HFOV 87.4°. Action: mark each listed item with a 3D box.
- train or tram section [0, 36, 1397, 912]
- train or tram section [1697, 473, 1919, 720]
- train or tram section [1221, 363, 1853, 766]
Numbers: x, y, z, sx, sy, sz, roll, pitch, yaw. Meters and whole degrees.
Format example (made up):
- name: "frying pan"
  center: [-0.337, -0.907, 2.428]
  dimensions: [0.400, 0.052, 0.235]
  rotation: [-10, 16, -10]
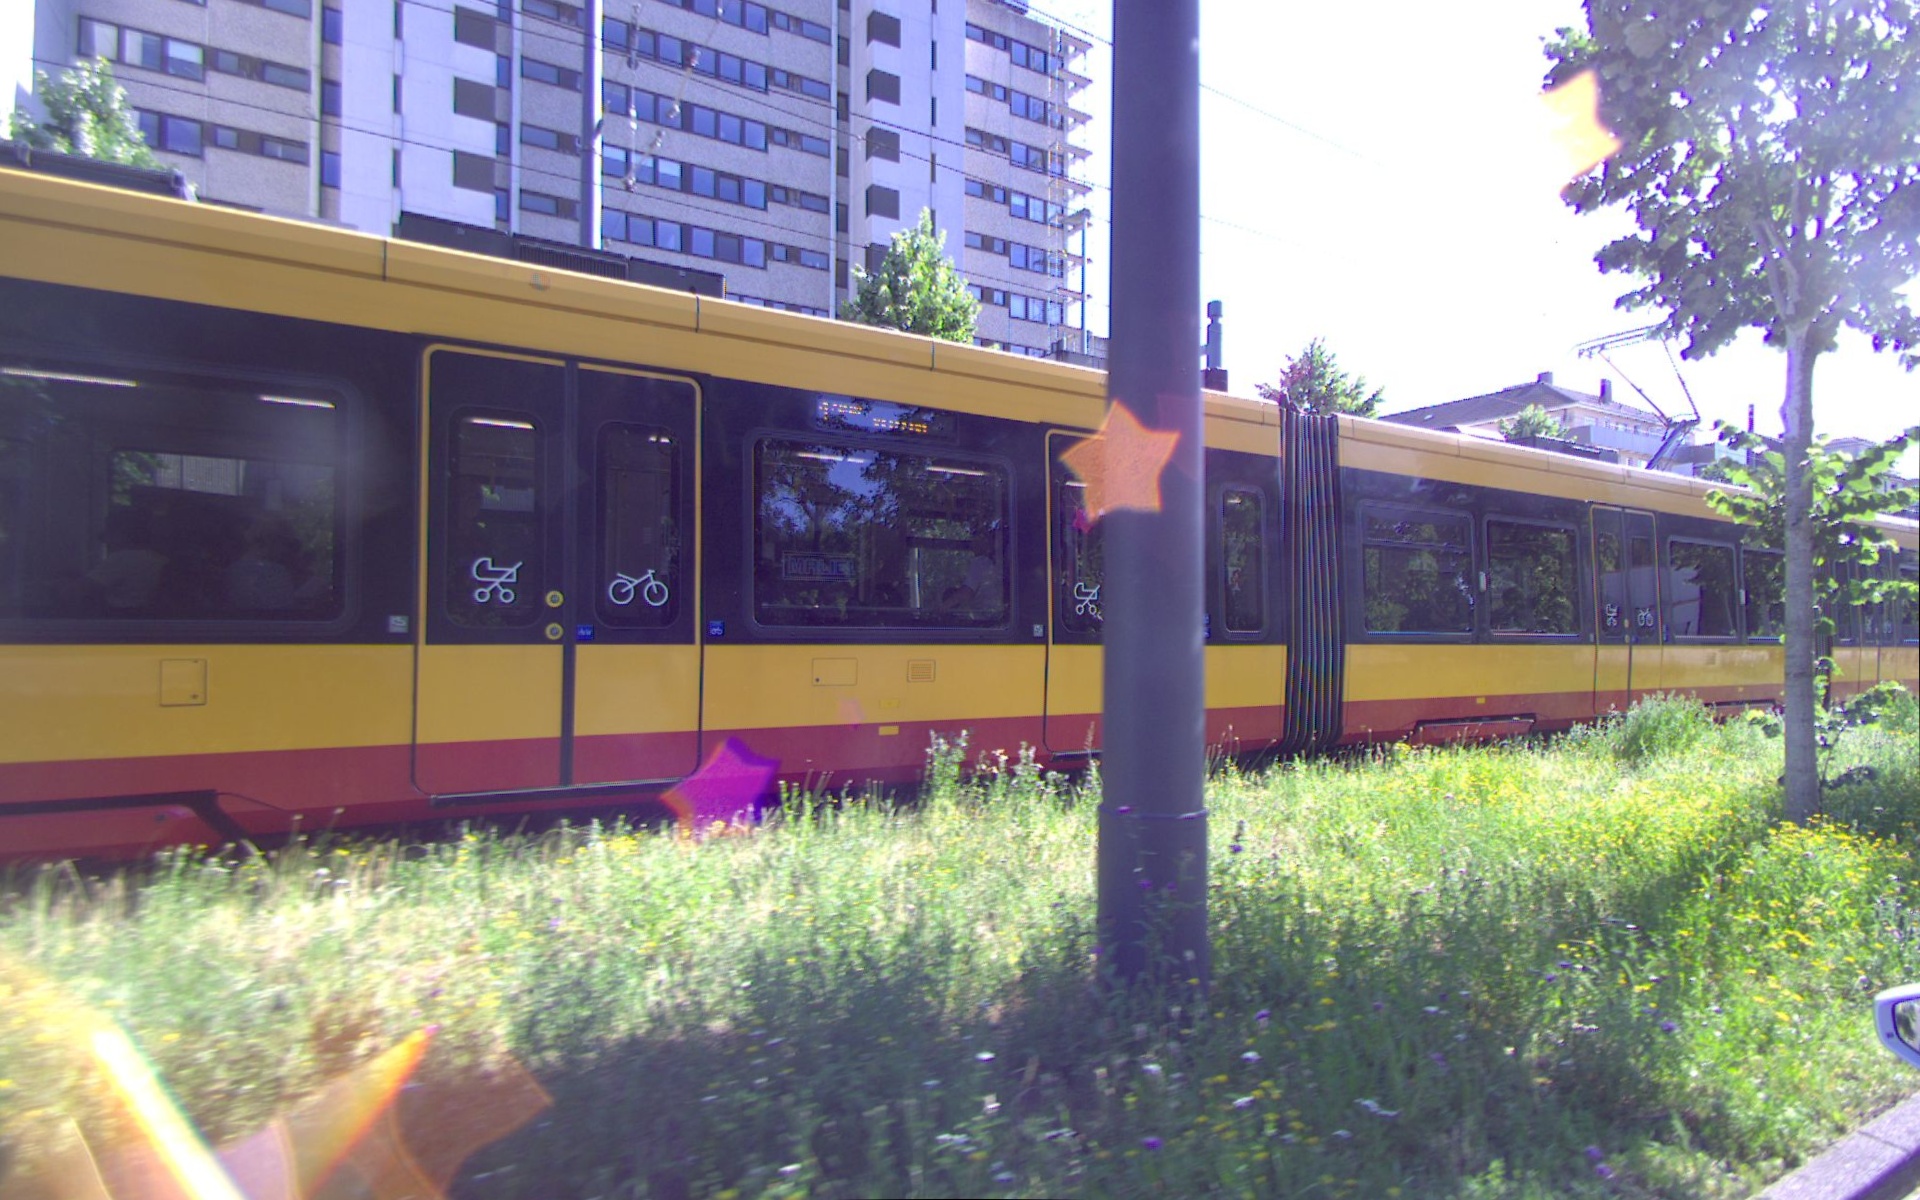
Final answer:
- name: "train or tram section"
  center: [-2.411, -0.472, 6.472]
  dimensions: [13.993, 3.718, 1.983]
  rotation: [2, -1, -32]
- name: "train or tram section"
  center: [17.831, 0.087, 18.945]
  dimensions: [11.548, 3.718, 1.984]
  rotation: [2, -1, -31]
- name: "train or tram section"
  center: [8.144, -0.196, 13.039]
  dimensions: [11.187, 3.718, 1.983]
  rotation: [2, -1, -31]
